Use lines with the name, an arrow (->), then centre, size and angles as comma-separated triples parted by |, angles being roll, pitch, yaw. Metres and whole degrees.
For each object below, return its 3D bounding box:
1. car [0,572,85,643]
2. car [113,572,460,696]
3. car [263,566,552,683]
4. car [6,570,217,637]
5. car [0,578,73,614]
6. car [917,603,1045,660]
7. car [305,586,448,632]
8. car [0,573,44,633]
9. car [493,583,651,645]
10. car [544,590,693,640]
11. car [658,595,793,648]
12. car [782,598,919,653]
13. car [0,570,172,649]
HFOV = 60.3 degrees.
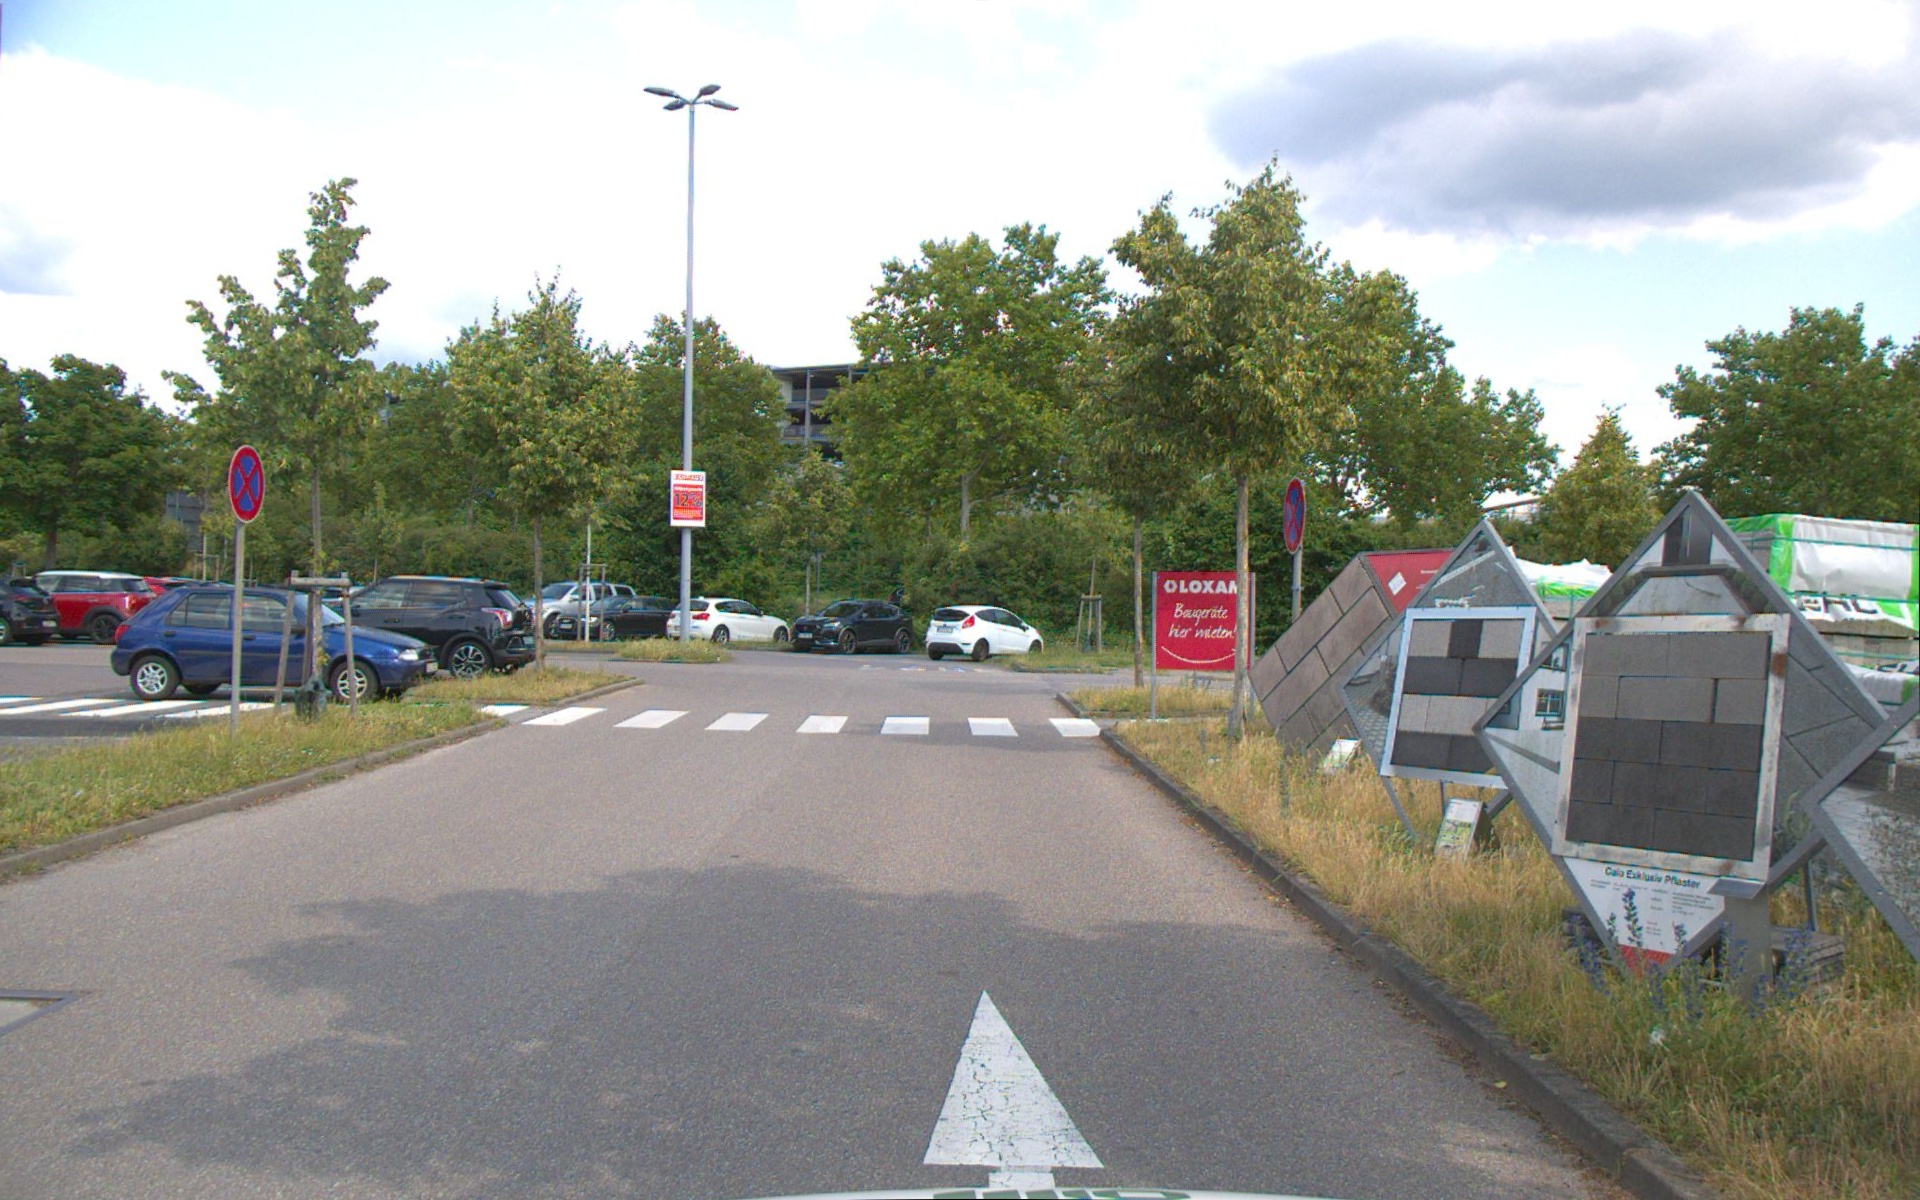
car -> -20.300, 0.108, 33.849 | 3.794, 1.393, 1.728 | 1, 0, -3
car -> -8.414, 0.412, 20.887 | 3.674, 1.392, 1.621 | 2, 0, -1
car -> -8.555, 0.371, 25.839 | 3.869, 1.653, 1.736 | 2, 0, 1
car -> -19.880, 0.086, 38.867 | 3.994, 1.423, 1.765 | 2, 0, -3
car -> -40.798, -0.165, 71.904 | 1.599, 1.494, 3.634 | 0, -2, 33
car -> 0.611, 0.845, 44.511 | 1.638, 1.436, 3.541 | 1, 0, 38
car -> -20.497, 0.337, 58.285 | 1.747, 1.531, 4.641 | 1, 0, 32
car -> -24.282, 0.020, 39.050 | 4.183, 1.376, 1.893 | 2, 0, -4
car -> -12.637, 0.468, 54.208 | 1.948, 1.875, 5.135 | 1, 0, 32
car -> -10.786, 0.494, 52.609 | 1.802, 1.476, 4.709 | 2, 0, 34
car -> -7.005, 0.646, 49.739 | 1.656, 1.536, 4.066 | 0, -1, 36
car -> -3.083, 0.720, 47.208 | 1.697, 1.435, 4.230 | 2, 0, 33
car -> -19.389, 0.203, 36.279 | 3.367, 1.609, 1.709 | 2, 0, -3
